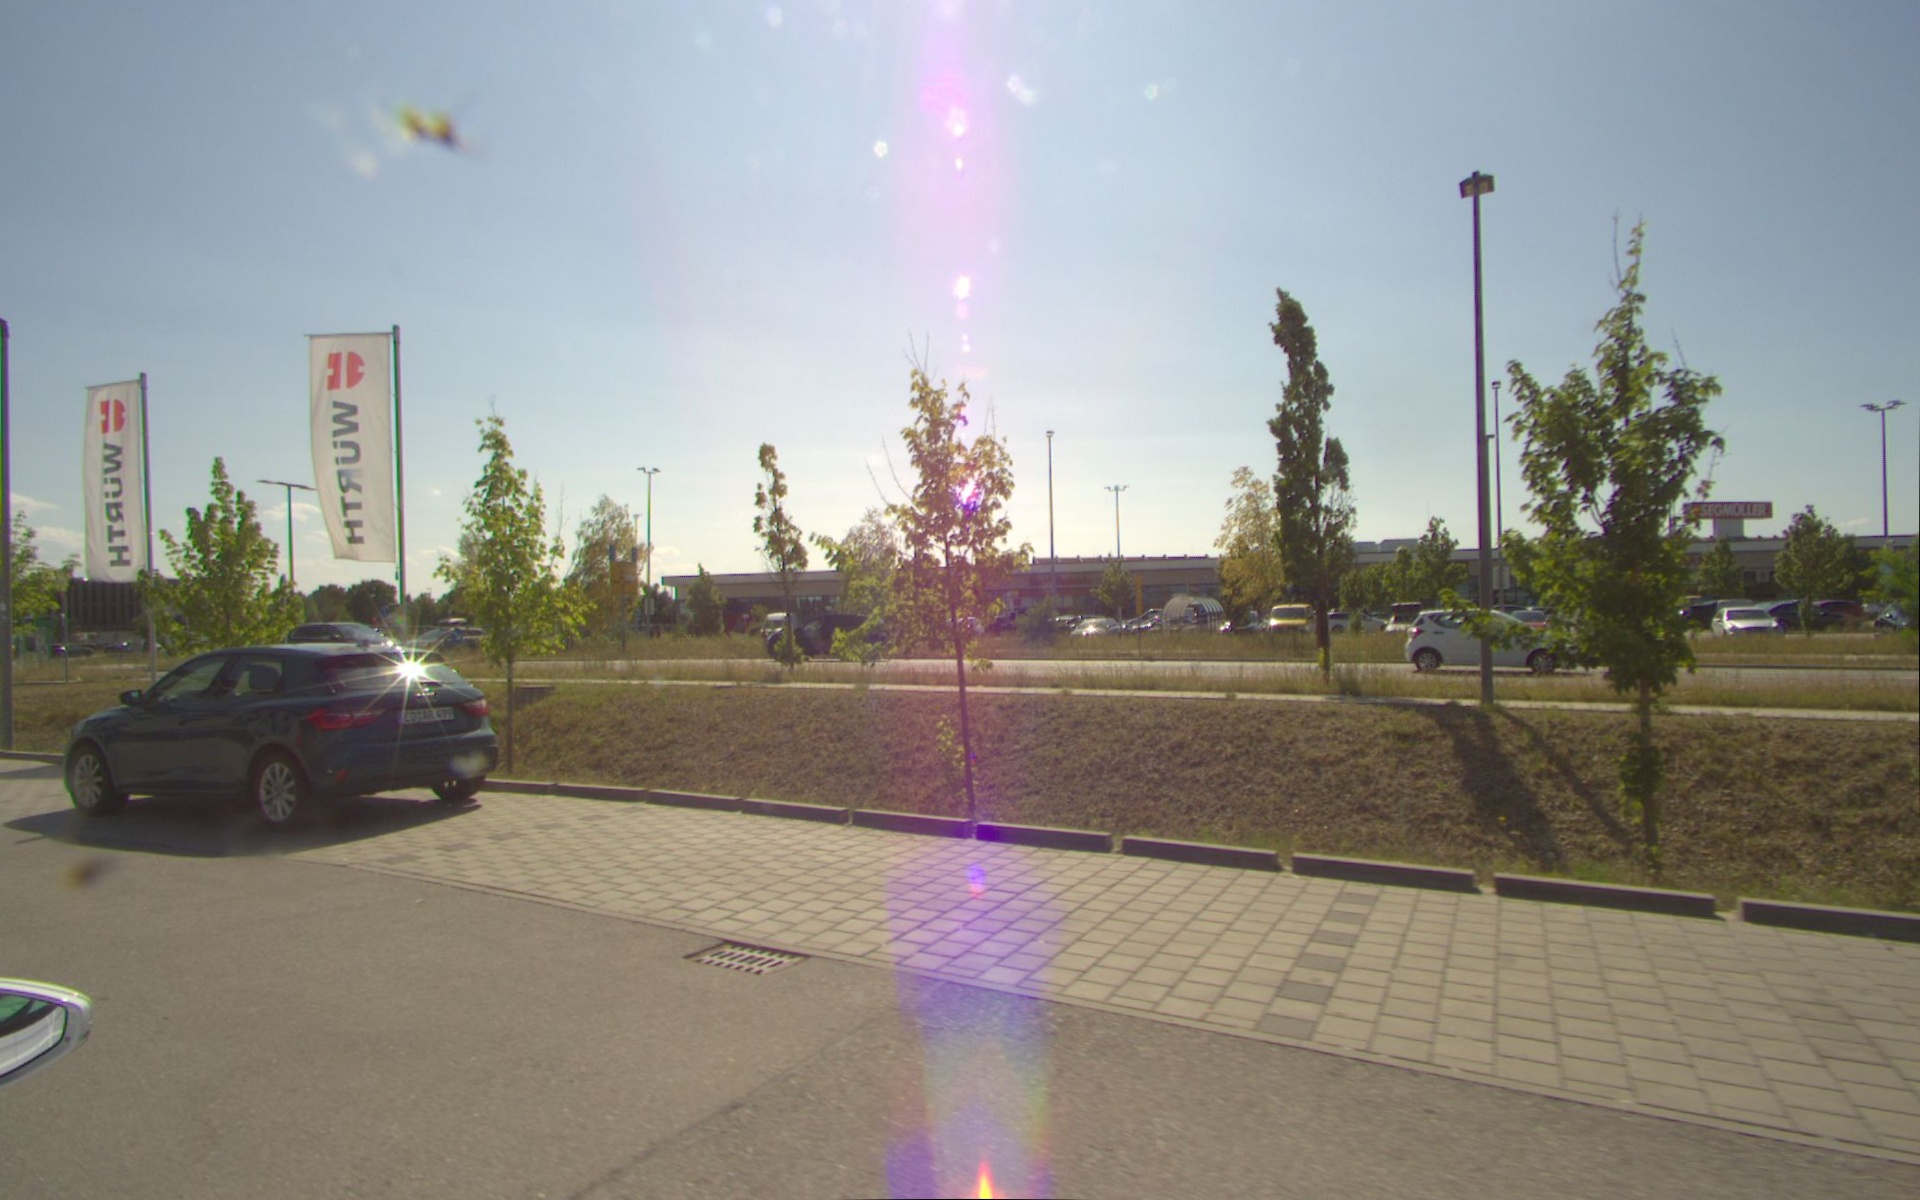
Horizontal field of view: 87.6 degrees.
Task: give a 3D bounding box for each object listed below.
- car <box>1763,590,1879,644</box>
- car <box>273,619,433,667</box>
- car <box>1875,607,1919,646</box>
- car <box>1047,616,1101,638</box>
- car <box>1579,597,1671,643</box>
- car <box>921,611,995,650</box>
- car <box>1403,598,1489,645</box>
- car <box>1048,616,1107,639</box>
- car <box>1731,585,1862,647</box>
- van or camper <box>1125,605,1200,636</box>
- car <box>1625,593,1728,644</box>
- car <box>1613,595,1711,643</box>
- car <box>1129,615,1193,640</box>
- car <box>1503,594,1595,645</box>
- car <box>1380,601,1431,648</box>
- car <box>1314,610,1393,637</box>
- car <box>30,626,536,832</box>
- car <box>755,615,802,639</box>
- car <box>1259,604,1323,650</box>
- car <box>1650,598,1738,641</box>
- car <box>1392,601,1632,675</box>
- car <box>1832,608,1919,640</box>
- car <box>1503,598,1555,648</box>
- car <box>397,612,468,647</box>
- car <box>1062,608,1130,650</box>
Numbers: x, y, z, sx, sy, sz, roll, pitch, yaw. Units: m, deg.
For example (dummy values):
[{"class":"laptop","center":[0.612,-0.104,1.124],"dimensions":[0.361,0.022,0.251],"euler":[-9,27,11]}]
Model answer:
[{"class":"car","center":[46.837,0.936,54.558],"dimensions":[4.397,2.858,2.001],"euler":[-1,-1,5]},{"class":"car","center":[-20.521,1.455,33.880],"dimensions":[4.673,1.571,1.945],"euler":[-1,-2,15]},{"class":"car","center":[45.852,1.213,46.708],"dimensions":[4.233,1.807,2.000],"euler":[-1,-1,11]},{"class":"car","center":[7.884,1.863,69.423],"dimensions":[3.660,1.408,1.732],"euler":[-1,-1,8]},{"class":"car","center":[42.332,1.278,63.817],"dimensions":[4.400,2.858,1.999],"euler":[-1,-1,11]},{"class":"car","center":[-0.040,1.630,54.733],"dimensions":[2.129,2.039,5.100],"euler":[-1,-1,24]},{"class":"car","center":[30.692,1.363,63.360],"dimensions":[4.397,2.858,2.001],"euler":[-1,-1,5]},{"class":"car","center":[7.471,1.740,63.732],"dimensions":[3.660,1.408,1.732],"euler":[-1,-1,8]},{"class":"car","center":[39.800,0.774,47.759],"dimensions":[4.397,2.858,2.001],"euler":[-1,-1,5]},{"class":"van or camper","center":[13.869,1.396,68.679],"dimensions":[4.957,2.040,1.998],"euler":[-1,0,13]},{"class":"car","center":[41.602,1.102,58.265],"dimensions":[4.400,2.858,1.999],"euler":[-1,-1,11]},{"class":"car","center":[42.699,1.184,61.041],"dimensions":[4.400,2.858,1.999],"euler":[-1,-1,11]},{"class":"car","center":[12.718,1.761,63.374],"dimensions":[3.925,1.527,1.874],"euler":[-1,-2,12]},{"class":"car","center":[33.846,1.145,57.546],"dimensions":[4.403,2.858,1.998],"euler":[0,-1,-14]},{"class":"car","center":[20.372,1.093,45.714],"dimensions":[1.914,2.040,4.394],"euler":[-1,-1,27]},{"class":"car","center":[24.111,1.456,61.530],"dimensions":[4.269,1.539,1.655],"euler":[-1,-1,13]},{"class":"car","center":[-6.051,0.992,8.942],"dimensions":[4.157,1.468,1.840],"euler":[-1,-1,24]},{"class":"car","center":[-15.901,2.354,88.003],"dimensions":[2.187,2.002,6.697],"euler":[-1,-1,7]},{"class":"car","center":[15.880,1.269,47.887],"dimensions":[2.131,2.039,5.097],"euler":[-1,-1,27]},{"class":"car","center":[49.943,1.356,68.217],"dimensions":[4.400,2.858,1.999],"euler":[-1,-1,11]},{"class":"car","center":[12.694,0.882,23.299],"dimensions":[4.689,1.571,1.939],"euler":[-1,-2,29]},{"class":"car","center":[60.848,1.593,66.196],"dimensions":[4.400,2.064,2.000],"euler":[-1,-1,11]},{"class":"car","center":[24.580,0.984,43.339],"dimensions":[1.855,2.040,4.121],"euler":[-1,-1,29]},{"class":"car","center":[-24.659,1.387,46.973],"dimensions":[1.963,1.536,4.193],"euler":[0,-2,-13]},{"class":"car","center":[7.091,1.473,51.802],"dimensions":[2.129,2.039,5.100],"euler":[-1,-1,24]}]
